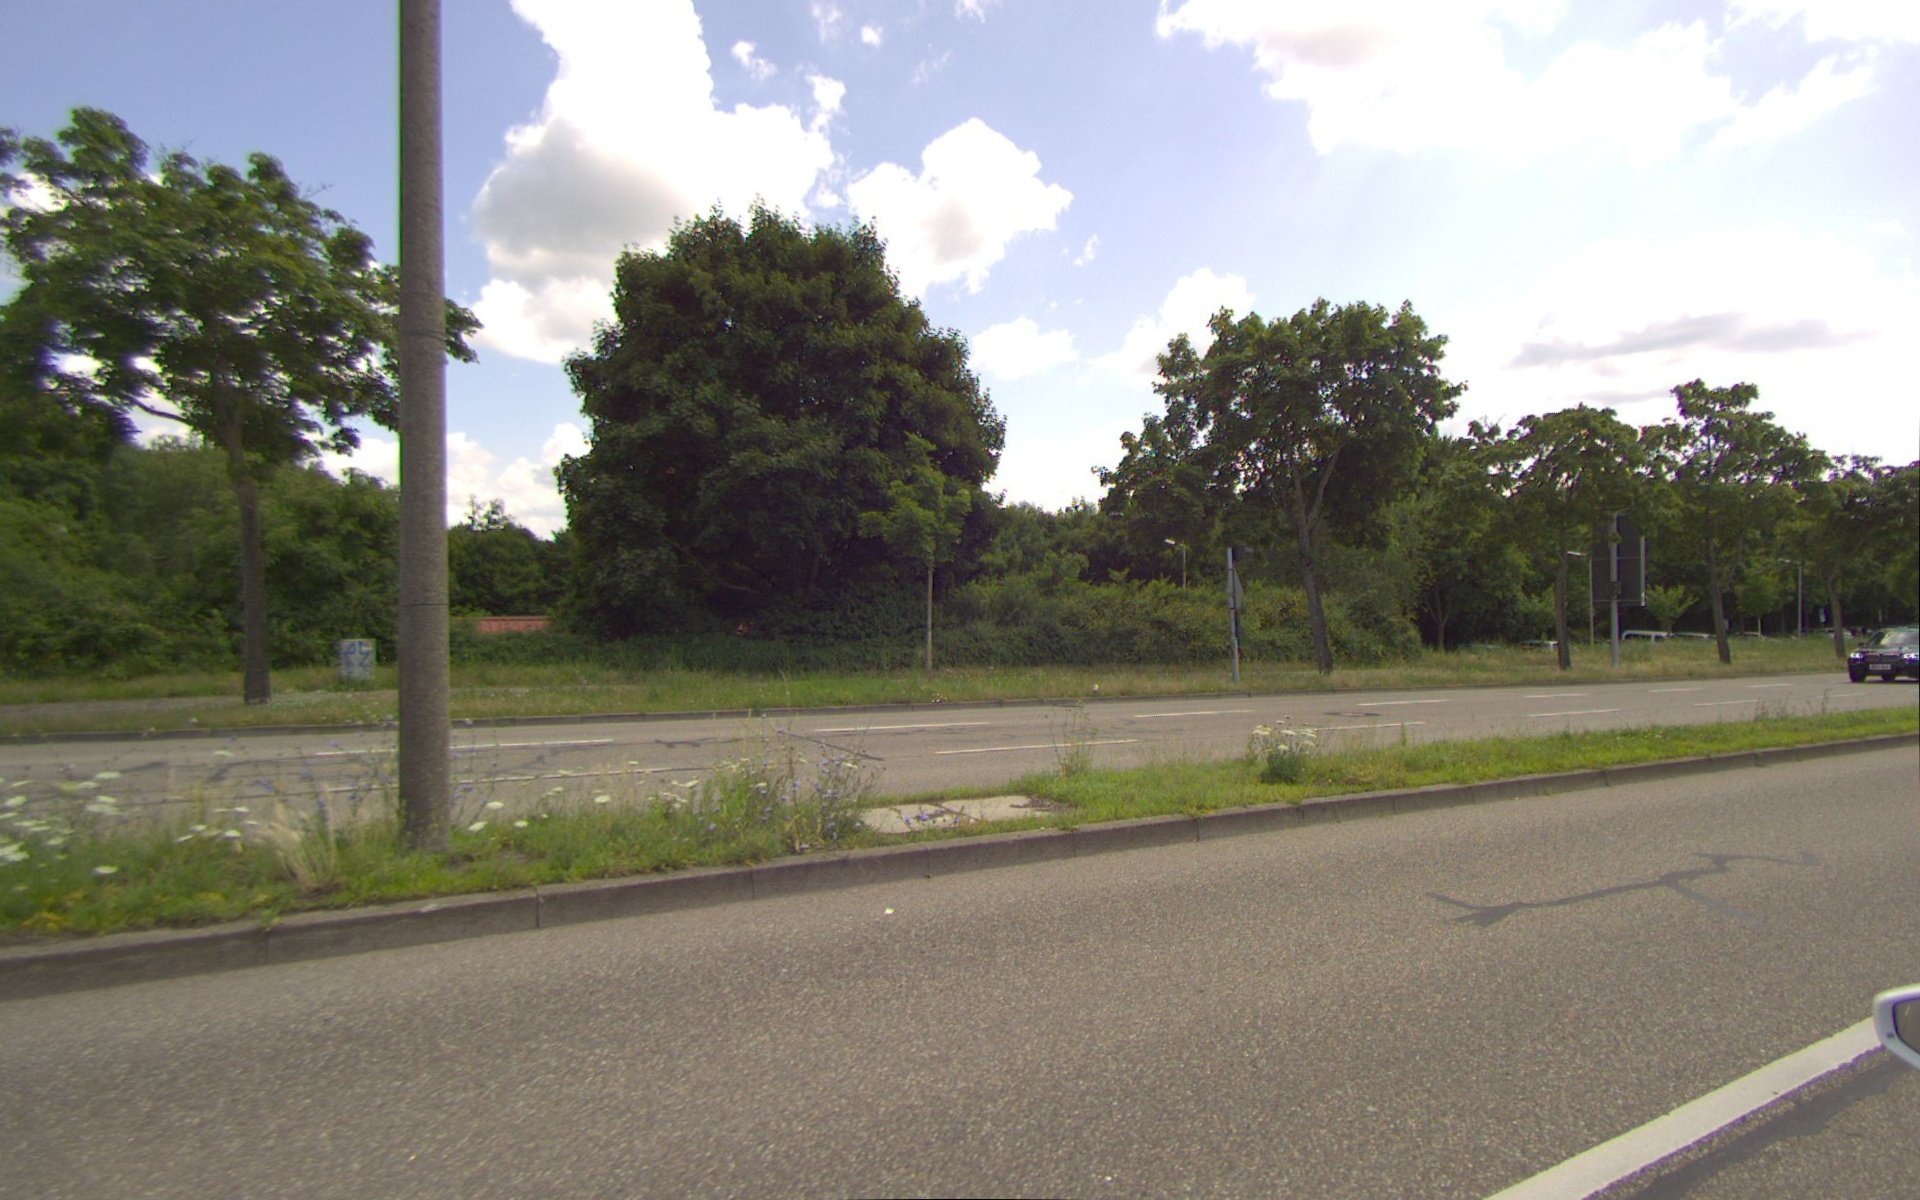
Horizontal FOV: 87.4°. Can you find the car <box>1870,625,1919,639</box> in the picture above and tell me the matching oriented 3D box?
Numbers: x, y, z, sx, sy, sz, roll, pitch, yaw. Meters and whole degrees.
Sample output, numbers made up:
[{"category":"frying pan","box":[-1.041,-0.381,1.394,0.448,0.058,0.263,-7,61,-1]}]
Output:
[{"category":"car","box":[106.322,3.576,114.252,1.764,1.406,3.768,0,1,-29]}]

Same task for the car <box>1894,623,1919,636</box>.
[{"category":"car","box":[114.200,3.570,119.850,1.764,1.406,3.768,0,1,-29]}]

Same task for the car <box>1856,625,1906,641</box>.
[{"category":"car","box":[101.776,3.669,111.029,1.764,1.589,3.768,0,1,-29]}]

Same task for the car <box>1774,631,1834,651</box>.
[{"category":"car","box":[75.906,3.656,90.400,1.765,1.528,3.765,0,1,-31]}]

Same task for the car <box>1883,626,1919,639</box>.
[{"category":"car","box":[109.541,3.731,116.217,1.764,1.406,3.768,0,1,-29]}]

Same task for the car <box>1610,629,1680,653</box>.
[{"category":"car","box":[52.540,3.121,77.111,1.980,1.647,3.961,0,1,-34]}]

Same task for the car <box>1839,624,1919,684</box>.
[{"category":"car","box":[30.559,1.727,32.551,4.677,1.813,1.867,2,-3,-32]}]

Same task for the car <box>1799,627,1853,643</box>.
[{"category":"car","box":[87.144,3.475,101.118,1.766,1.447,3.763,0,1,-33]}]
